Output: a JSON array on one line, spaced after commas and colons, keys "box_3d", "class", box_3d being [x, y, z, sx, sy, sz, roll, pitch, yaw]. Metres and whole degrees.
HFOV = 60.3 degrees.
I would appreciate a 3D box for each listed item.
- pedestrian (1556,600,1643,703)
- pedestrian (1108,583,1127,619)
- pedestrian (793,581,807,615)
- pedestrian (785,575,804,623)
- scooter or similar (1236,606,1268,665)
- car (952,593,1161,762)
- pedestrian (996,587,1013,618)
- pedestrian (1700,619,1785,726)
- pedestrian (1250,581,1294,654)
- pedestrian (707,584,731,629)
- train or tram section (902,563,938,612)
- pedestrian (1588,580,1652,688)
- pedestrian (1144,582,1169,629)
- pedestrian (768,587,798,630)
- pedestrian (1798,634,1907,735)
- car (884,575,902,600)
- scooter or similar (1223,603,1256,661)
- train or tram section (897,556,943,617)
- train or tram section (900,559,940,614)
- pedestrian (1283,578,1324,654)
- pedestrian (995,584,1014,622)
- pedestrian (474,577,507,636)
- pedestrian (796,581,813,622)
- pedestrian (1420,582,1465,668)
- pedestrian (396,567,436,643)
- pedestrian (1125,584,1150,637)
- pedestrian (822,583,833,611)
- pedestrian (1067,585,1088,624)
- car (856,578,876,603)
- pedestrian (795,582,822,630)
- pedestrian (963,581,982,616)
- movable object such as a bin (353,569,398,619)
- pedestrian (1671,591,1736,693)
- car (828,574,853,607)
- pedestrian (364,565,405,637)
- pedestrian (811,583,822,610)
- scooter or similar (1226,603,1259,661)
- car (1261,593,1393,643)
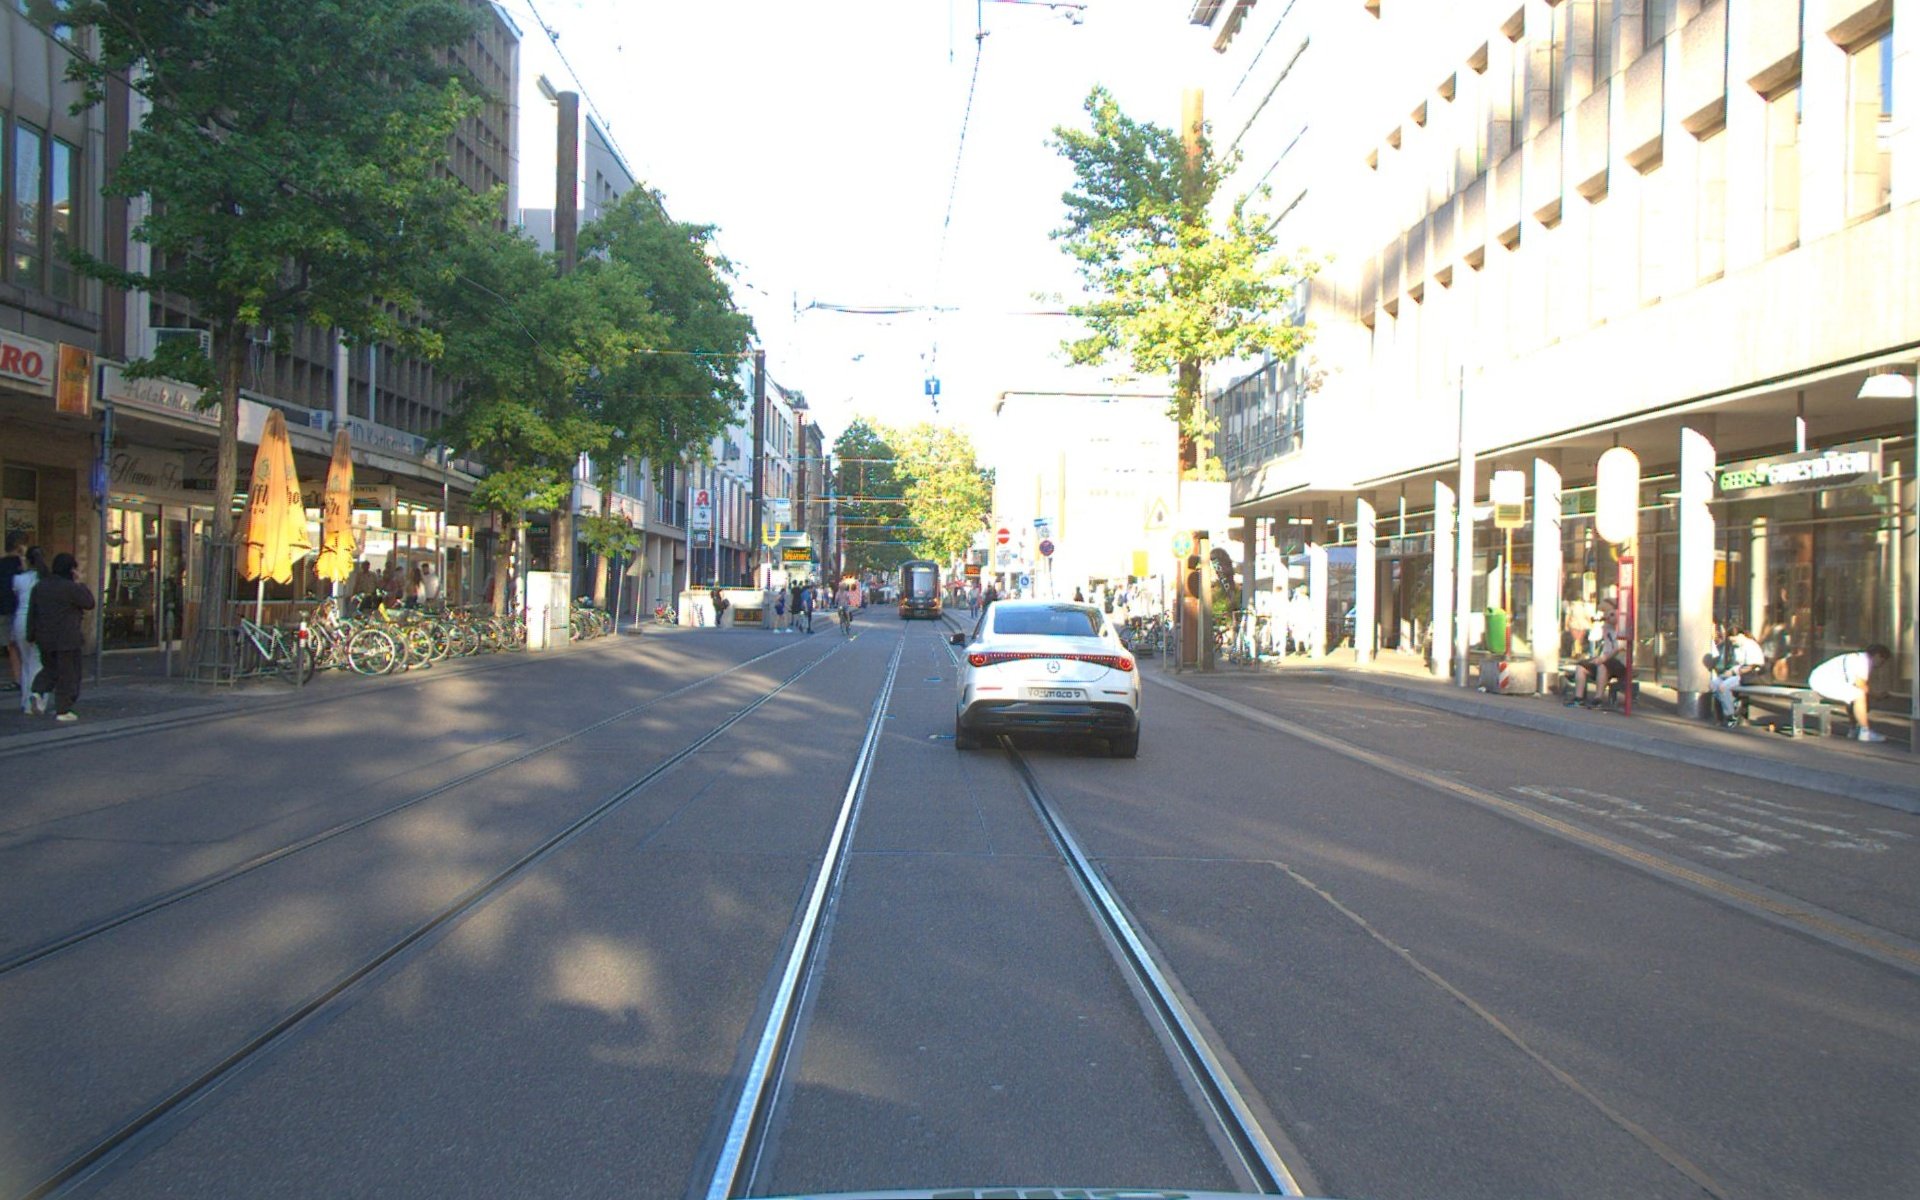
[{"box_3d": [8.923, 0.711, 23.095, 0.822, 1.401, 0.772, 1, 0, -24], "class": "pedestrian"}, {"box_3d": [7.592, 0.063, 79.671, 0.801, 1.714, 0.803, -1, 0, -2], "class": "pedestrian"}, {"box_3d": [-7.562, -0.101, 78.302, 0.603, 1.572, 0.650, 1, 0, -4], "class": "pedestrian"}, {"box_3d": [-6.837, -0.041, 68.221, 0.531, 1.962, 0.569, 1, 0, 42], "class": "pedestrian"}, {"box_3d": [6.554, 0.785, 37.160, 0.483, 1.299, 0.658, -1, 0, -13], "class": "scooter or similar"}, {"box_3d": [0.872, 0.698, 17.174, 1.820, 1.480, 4.174, 2, 0, -1], "class": "car"}, {"box_3d": [2.652, 0.163, 99.533, 0.941, 1.816, 0.803, -1, 0, -2], "class": "pedestrian"}, {"box_3d": [9.322, 0.856, 19.728, 0.652, 1.219, 0.785, 1, 0, 3], "class": "pedestrian"}, {"box_3d": [7.820, 0.430, 41.523, 0.881, 1.775, 0.689, -3, 0, -2], "class": "pedestrian"}, {"box_3d": [-9.383, 0.247, 64.327, 0.821, 1.747, 0.784, 1, 0, -3], "class": "pedestrian"}, {"box_3d": [-3.081, -0.977, 127.317, 2.640, 3.578, 11.140, 1, 0, -1], "class": "train or tram section"}, {"box_3d": [11.034, 0.553, 27.675, 0.701, 1.771, 0.835, 1, 0, -1], "class": "pedestrian"}, {"box_3d": [7.618, 0.208, 64.154, 0.824, 1.816, 0.803, -1, 0, -2], "class": "pedestrian"}, {"box_3d": [-6.329, 0.304, 59.208, 0.936, 1.522, 0.944, 1, 0, -1], "class": "pedestrian"}, {"box_3d": [9.816, 0.920, 18.209, 0.818, 1.049, 0.696, 1, 0, 3], "class": "pedestrian"}, {"box_3d": [-8.211, -1.530, 204.076, 2.056, 2.948, 5.274, 1, 0, -1], "class": "car"}, {"box_3d": [6.477, 0.734, 38.345, 0.518, 1.299, 0.658, -1, 0, -13], "class": "scooter or similar"}, {"box_3d": [-2.488, -0.830, 102.936, 2.640, 3.578, 12.541, 1, 0, -1], "class": "train or tram section"}, {"box_3d": [-2.790, -0.908, 115.483, 2.640, 3.578, 12.541, 1, 0, -1], "class": "train or tram section"}, {"box_3d": [8.544, 0.384, 41.143, 0.687, 1.844, 1.033, -3, 0, -2], "class": "pedestrian"}, {"box_3d": [1.992, 0.132, 74.276, 0.731, 1.728, 0.840, 1, 0, -4], "class": "pedestrian"}, {"box_3d": [-14.607, 0.196, 51.474, 0.800, 1.792, 0.779, 1, 0, -4], "class": "pedestrian"}, {"box_3d": [-6.796, 0.058, 72.464, 0.538, 1.791, 0.520, 1, 0, 27], "class": "pedestrian"}, {"box_3d": [9.544, 0.488, 32.741, 0.624, 1.682, 0.780, 1, 0, 0], "class": "pedestrian"}, {"box_3d": [-11.973, 0.106, 36.446, 0.700, 1.668, 0.683, 1, 0, -8], "class": "pedestrian"}, {"box_3d": [6.125, 0.347, 57.003, 0.733, 1.816, 0.766, -1, 0, -2], "class": "pedestrian"}, {"box_3d": [-8.042, -0.184, 100.176, 0.647, 1.627, 0.573, 1, 0, -3], "class": "pedestrian"}, {"box_3d": [5.112, 0.194, 72.026, 0.820, 1.691, 0.785, 1, 0, 1], "class": "pedestrian"}, {"box_3d": [-9.779, -0.975, 171.978, 1.871, 2.504, 5.274, 1, 0, -1], "class": "car"}, {"box_3d": [-5.500, 0.216, 60.115, 0.886, 1.728, 0.848, 1, 0, -1], "class": "pedestrian"}, {"box_3d": [0.663, -0.077, 87.858, 0.941, 1.816, 0.803, -1, 0, -2], "class": "pedestrian"}, {"box_3d": [-12.576, -0.122, 35.619, 0.700, 1.057, 0.980, 1, 0, -7], "class": "movable object such as a bin"}, {"box_3d": [11.765, 0.653, 26.183, 0.629, 1.568, 0.796, 1, 0, -1], "class": "pedestrian"}, {"box_3d": [-11.054, -0.864, 153.070, 1.953, 2.948, 5.274, 1, 0, -1], "class": "car"}, {"box_3d": [-12.679, 0.022, 36.447, 0.700, 1.574, 0.683, 1, 0, -8], "class": "pedestrian"}, {"box_3d": [-8.683, -0.197, 100.081, 0.647, 1.627, 0.573, 1, 0, -3], "class": "pedestrian"}, {"box_3d": [6.456, 0.735, 37.807, 0.518, 1.299, 0.658, -1, 0, -13], "class": "scooter or similar"}, {"box_3d": [11.503, 0.559, 51.965, 3.729, 1.499, 1.647, 1, 0, -7], "class": "car"}]
